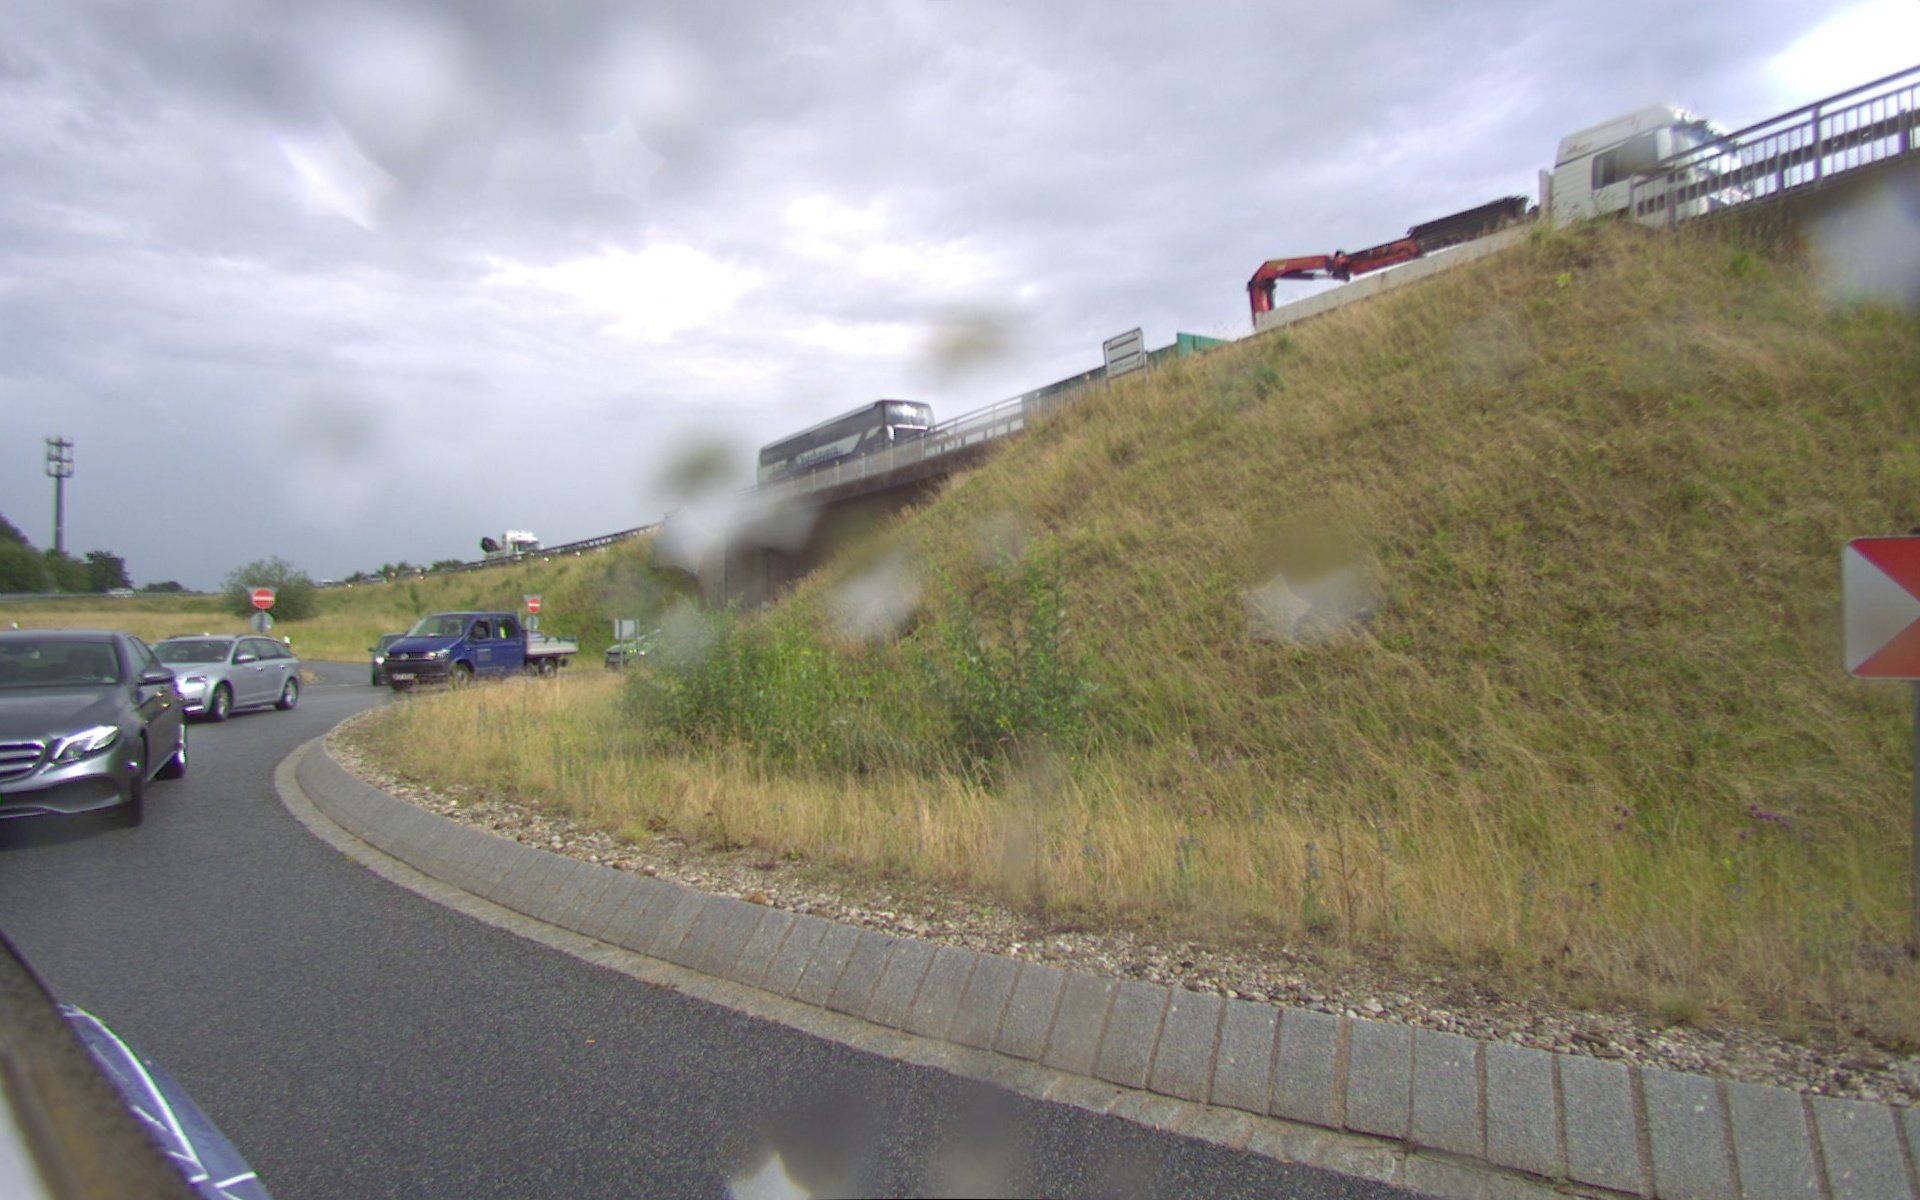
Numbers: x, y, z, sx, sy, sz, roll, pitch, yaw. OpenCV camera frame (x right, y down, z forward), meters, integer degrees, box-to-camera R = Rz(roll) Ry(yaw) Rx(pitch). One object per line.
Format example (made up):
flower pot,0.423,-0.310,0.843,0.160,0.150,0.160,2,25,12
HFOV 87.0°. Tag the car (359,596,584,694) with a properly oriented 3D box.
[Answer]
car,-12.278,1.039,25.998,1.876,1.929,5.655,-3,2,15

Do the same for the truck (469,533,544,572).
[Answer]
truck,-43.665,-4.514,97.207,9.277,3.218,3.117,-1,0,42

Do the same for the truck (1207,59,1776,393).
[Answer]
truck,9.765,-6.828,20.823,2.169,2.895,10.858,-1,0,-30

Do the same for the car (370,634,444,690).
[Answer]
car,-15.949,1.726,29.118,1.744,1.496,3.845,1,-2,-30

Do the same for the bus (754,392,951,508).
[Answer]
bus,-5.390,-6.401,45.828,2.569,3.103,14.504,-1,0,-33

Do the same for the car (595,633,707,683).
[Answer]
car,-10.247,1.899,33.822,1.561,1.548,3.902,-1,-2,20

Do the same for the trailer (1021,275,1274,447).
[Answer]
trailer,5.002,-6.521,29.055,2.150,2.893,8.356,-1,0,-31

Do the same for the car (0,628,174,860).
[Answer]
car,-7.434,0.982,7.912,1.742,1.402,4.603,0,-2,-34

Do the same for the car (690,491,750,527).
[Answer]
car,-14.220,-5.339,59.811,1.687,1.536,4.504,-12,6,-35

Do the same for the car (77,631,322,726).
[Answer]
car,-12.901,1.314,17.554,1.768,1.409,4.360,0,-3,-13
